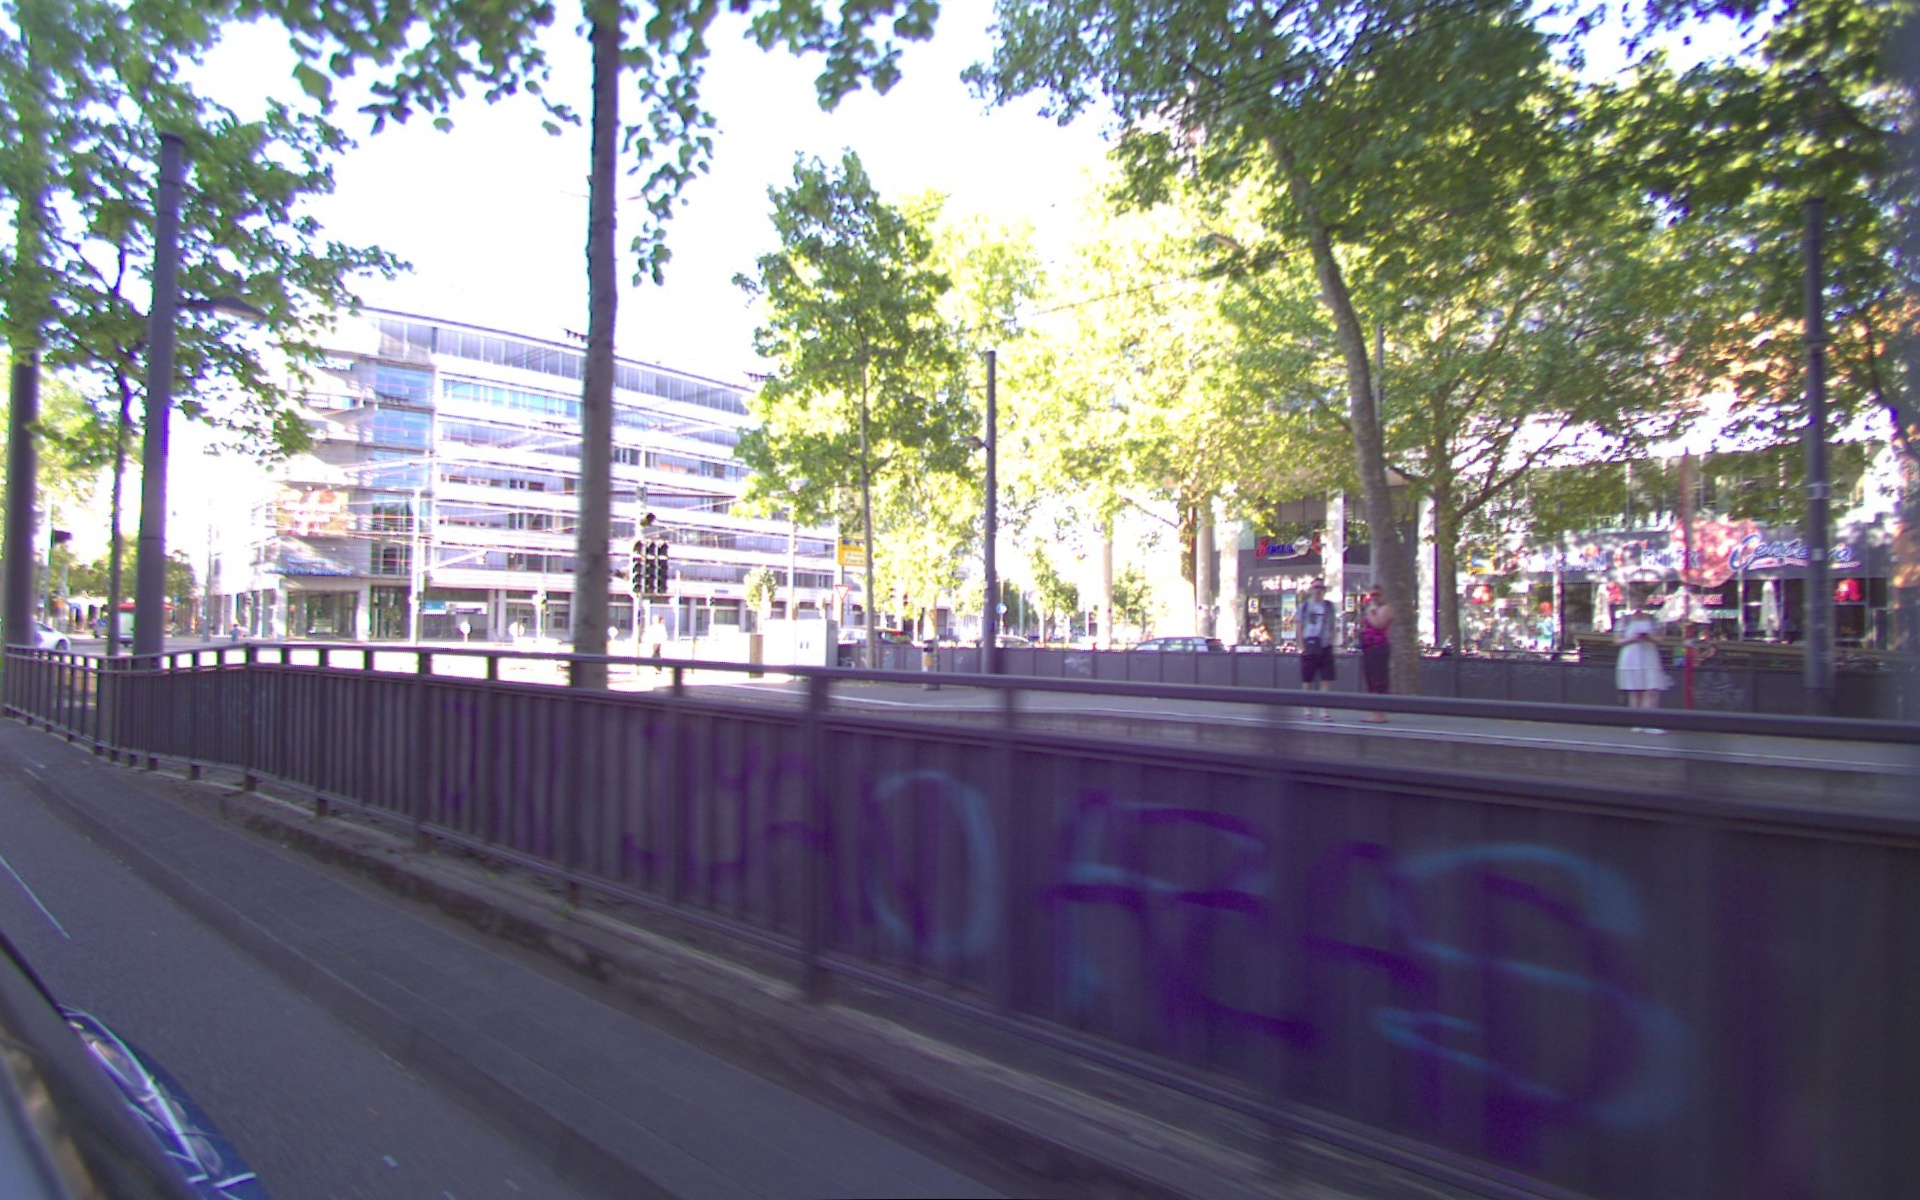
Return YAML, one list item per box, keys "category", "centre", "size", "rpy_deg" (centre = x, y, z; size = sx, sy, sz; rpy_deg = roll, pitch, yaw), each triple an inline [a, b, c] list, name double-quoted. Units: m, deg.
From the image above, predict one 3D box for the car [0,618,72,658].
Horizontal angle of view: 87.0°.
- category: "car"
  centre: [-37.209, 1.447, 39.541]
  size: [1.879, 1.494, 4.297]
  rpy_deg: [1, -2, -12]

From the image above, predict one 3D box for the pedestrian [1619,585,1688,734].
- category: "pedestrian"
  centre: [8.474, 0.714, 12.389]
  size: [0.635, 1.753, 0.690]
  rpy_deg: [-1, -2, 32]

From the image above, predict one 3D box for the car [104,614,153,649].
- category: "car"
  centre: [-44.980, 1.692, 54.697]
  size: [1.969, 1.796, 4.006]
  rpy_deg: [0, -1, -41]

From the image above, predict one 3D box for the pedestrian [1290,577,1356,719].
- category: "pedestrian"
  centre: [4.689, 0.609, 13.065]
  size: [0.674, 1.767, 0.649]
  rpy_deg: [-1, -2, 32]

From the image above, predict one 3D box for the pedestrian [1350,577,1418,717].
- category: "pedestrian"
  centre: [5.396, 0.590, 12.879]
  size: [0.697, 1.709, 0.678]
  rpy_deg: [-1, -2, 32]

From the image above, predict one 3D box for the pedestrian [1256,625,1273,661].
- category: "pedestrian"
  centre: [14.502, 2.033, 48.174]
  size: [0.616, 1.696, 0.530]
  rpy_deg: [1, -2, -5]

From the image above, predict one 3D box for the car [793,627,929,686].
- category: "car"
  centre: [-2.673, 1.465, 27.107]
  size: [3.340, 1.466, 1.847]
  rpy_deg: [-1, -2, 41]

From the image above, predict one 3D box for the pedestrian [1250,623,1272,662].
- category: "pedestrian"
  centre: [13.624, 1.924, 45.789]
  size: [0.852, 1.753, 0.788]
  rpy_deg: [0, -2, 24]

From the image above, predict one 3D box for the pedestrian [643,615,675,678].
- category: "pedestrian"
  centre: [-8.357, 1.285, 28.100]
  size: [0.501, 1.698, 0.640]
  rpy_deg: [-1, -2, 38]
